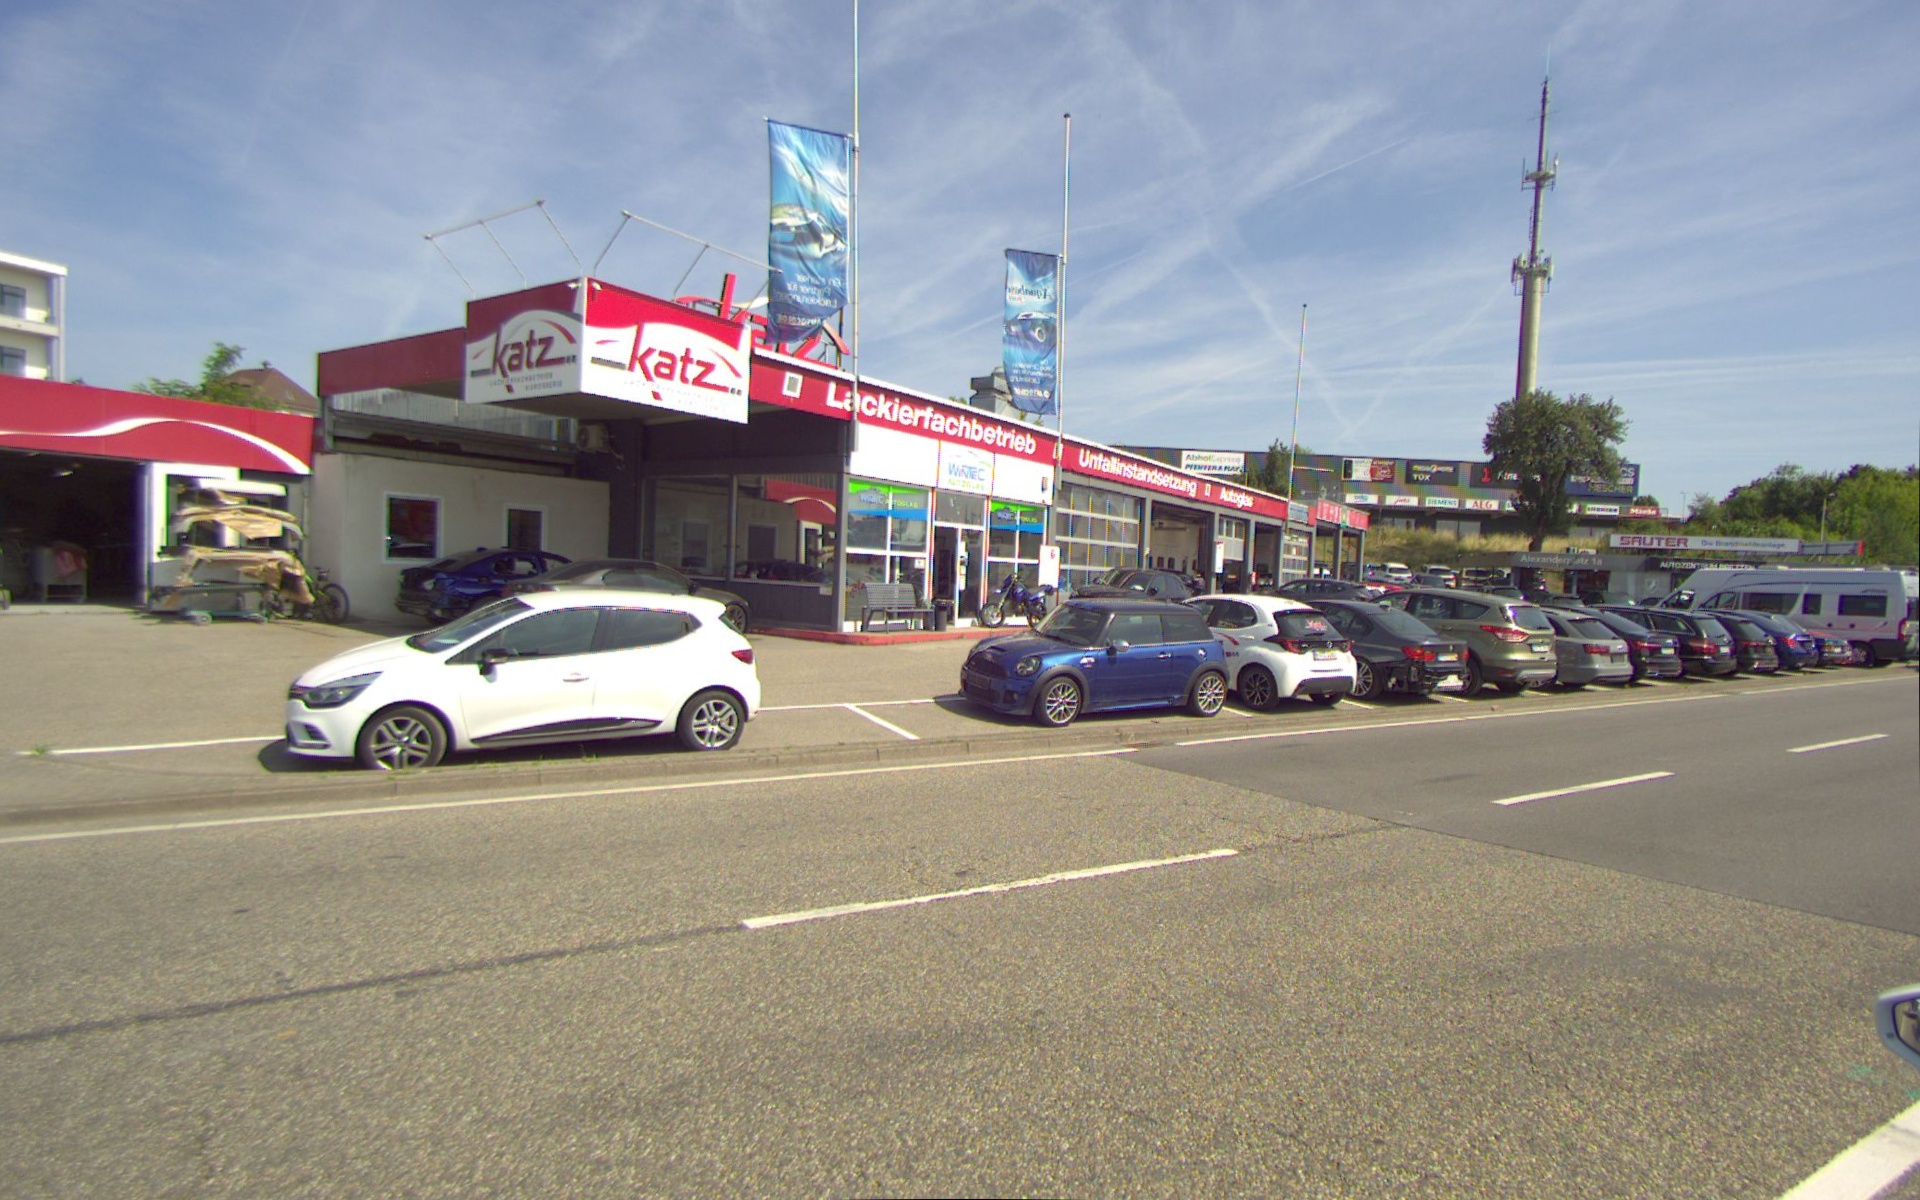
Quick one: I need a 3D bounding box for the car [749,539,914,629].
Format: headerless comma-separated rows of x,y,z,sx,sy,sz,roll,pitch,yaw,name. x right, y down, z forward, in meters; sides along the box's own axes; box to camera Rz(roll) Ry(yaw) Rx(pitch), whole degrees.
-2.848,-0.366,23.021,1.675,1.783,3.752,6,3,32,car

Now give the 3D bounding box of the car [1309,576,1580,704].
8.418,0.602,17.774,1.788,1.740,3.860,1,5,-34,car

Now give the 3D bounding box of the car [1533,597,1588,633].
28.505,0.674,47.759,1.735,1.609,3.826,1,1,24,car

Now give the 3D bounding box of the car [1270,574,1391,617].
13.265,-0.179,36.045,3.765,1.451,1.764,1,1,34,car

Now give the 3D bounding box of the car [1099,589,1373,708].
4.098,0.634,15.435,1.828,1.546,3.771,1,1,-34,car

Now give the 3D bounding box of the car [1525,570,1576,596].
35.294,-0.984,60.132,1.701,1.470,3.750,3,1,16,car

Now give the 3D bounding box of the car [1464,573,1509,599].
32.801,-0.857,62.679,1.701,1.470,3.750,3,1,16,car

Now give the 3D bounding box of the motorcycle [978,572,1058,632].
1.317,0.042,22.267,0.760,1.278,2.047,2,1,36,motorcycle

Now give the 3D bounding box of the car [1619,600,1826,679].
18.769,0.908,24.873,1.690,1.577,3.683,-1,4,-34,car

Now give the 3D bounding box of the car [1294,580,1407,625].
14.988,0.059,38.602,3.765,1.609,1.764,1,1,34,car

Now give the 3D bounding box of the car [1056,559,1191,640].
4.240,0.004,25.586,1.796,1.696,4.118,8,3,32,car

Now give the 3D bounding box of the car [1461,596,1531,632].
26.263,0.655,49.356,1.733,1.609,3.831,1,1,7,car

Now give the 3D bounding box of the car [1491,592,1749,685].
14.649,0.766,22.567,1.754,1.505,4.429,1,5,-34,car

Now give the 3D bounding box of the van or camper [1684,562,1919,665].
25.078,0.301,29.917,2.185,2.768,5.217,1,1,-31,van or camper

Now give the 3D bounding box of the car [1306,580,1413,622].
16.247,0.015,40.900,3.765,1.609,1.764,1,1,34,car

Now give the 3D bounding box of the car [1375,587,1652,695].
10.483,0.677,19.343,1.817,1.505,4.249,1,5,-34,car

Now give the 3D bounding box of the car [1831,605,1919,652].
33.397,1.006,35.367,1.823,1.560,3.793,1,1,-34,car

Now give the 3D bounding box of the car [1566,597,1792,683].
16.631,0.860,23.411,1.783,1.505,3.819,1,5,-34,car

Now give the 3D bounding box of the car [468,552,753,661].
-5.812,-0.005,17.194,1.828,1.525,4.381,5,5,34,car

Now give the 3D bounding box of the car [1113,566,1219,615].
7.514,-0.325,36.494,1.886,1.694,3.990,2,1,45,car

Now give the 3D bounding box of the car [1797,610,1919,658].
30.970,1.118,33.931,1.823,1.468,3.793,1,1,-34,car

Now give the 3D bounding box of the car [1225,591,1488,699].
6.421,0.654,16.600,1.774,1.546,3.684,1,0,-34,car

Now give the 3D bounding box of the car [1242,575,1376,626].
11.567,-0.008,33.392,3.884,1.553,1.764,1,1,34,car

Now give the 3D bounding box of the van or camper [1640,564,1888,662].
26.042,0.291,32.811,2.265,2.912,5.857,0,2,-33,van or camper

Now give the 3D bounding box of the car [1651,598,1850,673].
20.731,0.875,26.479,1.690,1.505,3.683,1,5,-34,car

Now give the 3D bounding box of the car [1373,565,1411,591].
27.591,-1.376,64.215,1.701,1.558,3.750,3,1,16,car

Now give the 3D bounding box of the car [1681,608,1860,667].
22.946,1.008,28.539,1.792,1.500,3.574,1,0,-32,car

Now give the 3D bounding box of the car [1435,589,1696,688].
12.518,0.717,21.051,1.780,1.505,4.270,1,5,-34,car

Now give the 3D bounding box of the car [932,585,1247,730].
1.719,0.674,13.142,3.739,1.514,1.769,1,5,-32,car

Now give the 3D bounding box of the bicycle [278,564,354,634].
-11.191,-0.037,17.427,1.966,0.984,0.413,8,4,36,bicycle

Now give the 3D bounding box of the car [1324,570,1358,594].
24.983,-1.139,65.961,1.701,1.470,3.750,3,1,16,car

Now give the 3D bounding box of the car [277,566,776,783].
-3.927,0.573,9.409,3.955,1.640,1.770,1,1,-32,car

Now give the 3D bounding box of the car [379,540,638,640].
-8.169,-0.268,18.490,1.828,1.525,3.987,7,6,33,car

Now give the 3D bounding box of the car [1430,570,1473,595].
30.862,-1.075,63.184,1.701,1.470,3.750,3,1,16,car
